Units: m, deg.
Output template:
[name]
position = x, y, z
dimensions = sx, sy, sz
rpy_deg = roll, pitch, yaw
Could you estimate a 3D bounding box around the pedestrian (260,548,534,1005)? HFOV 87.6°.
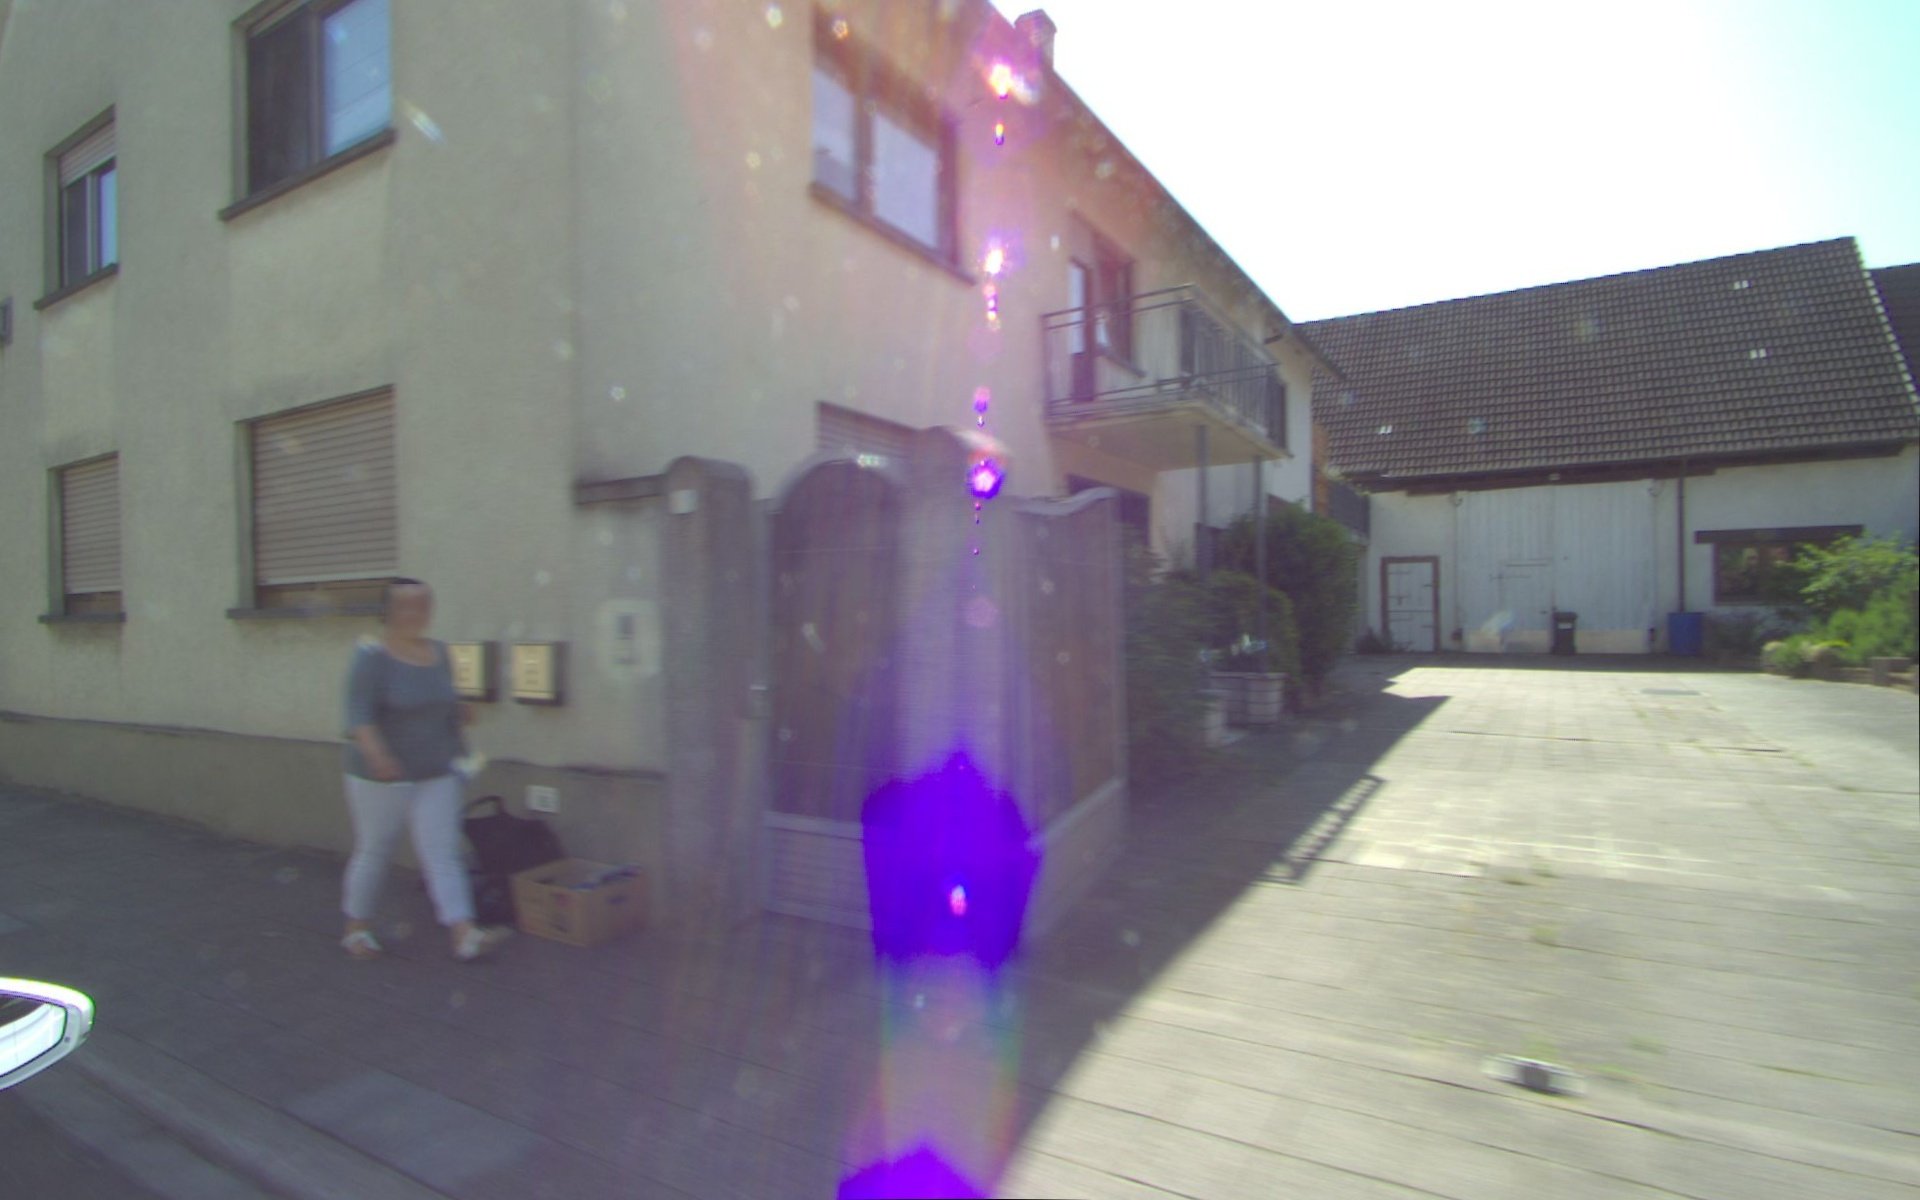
[pedestrian]
position = -2.385, 0.663, 4.251
dimensions = 0.881, 1.685, 0.717
rpy_deg = 0, -1, 36
